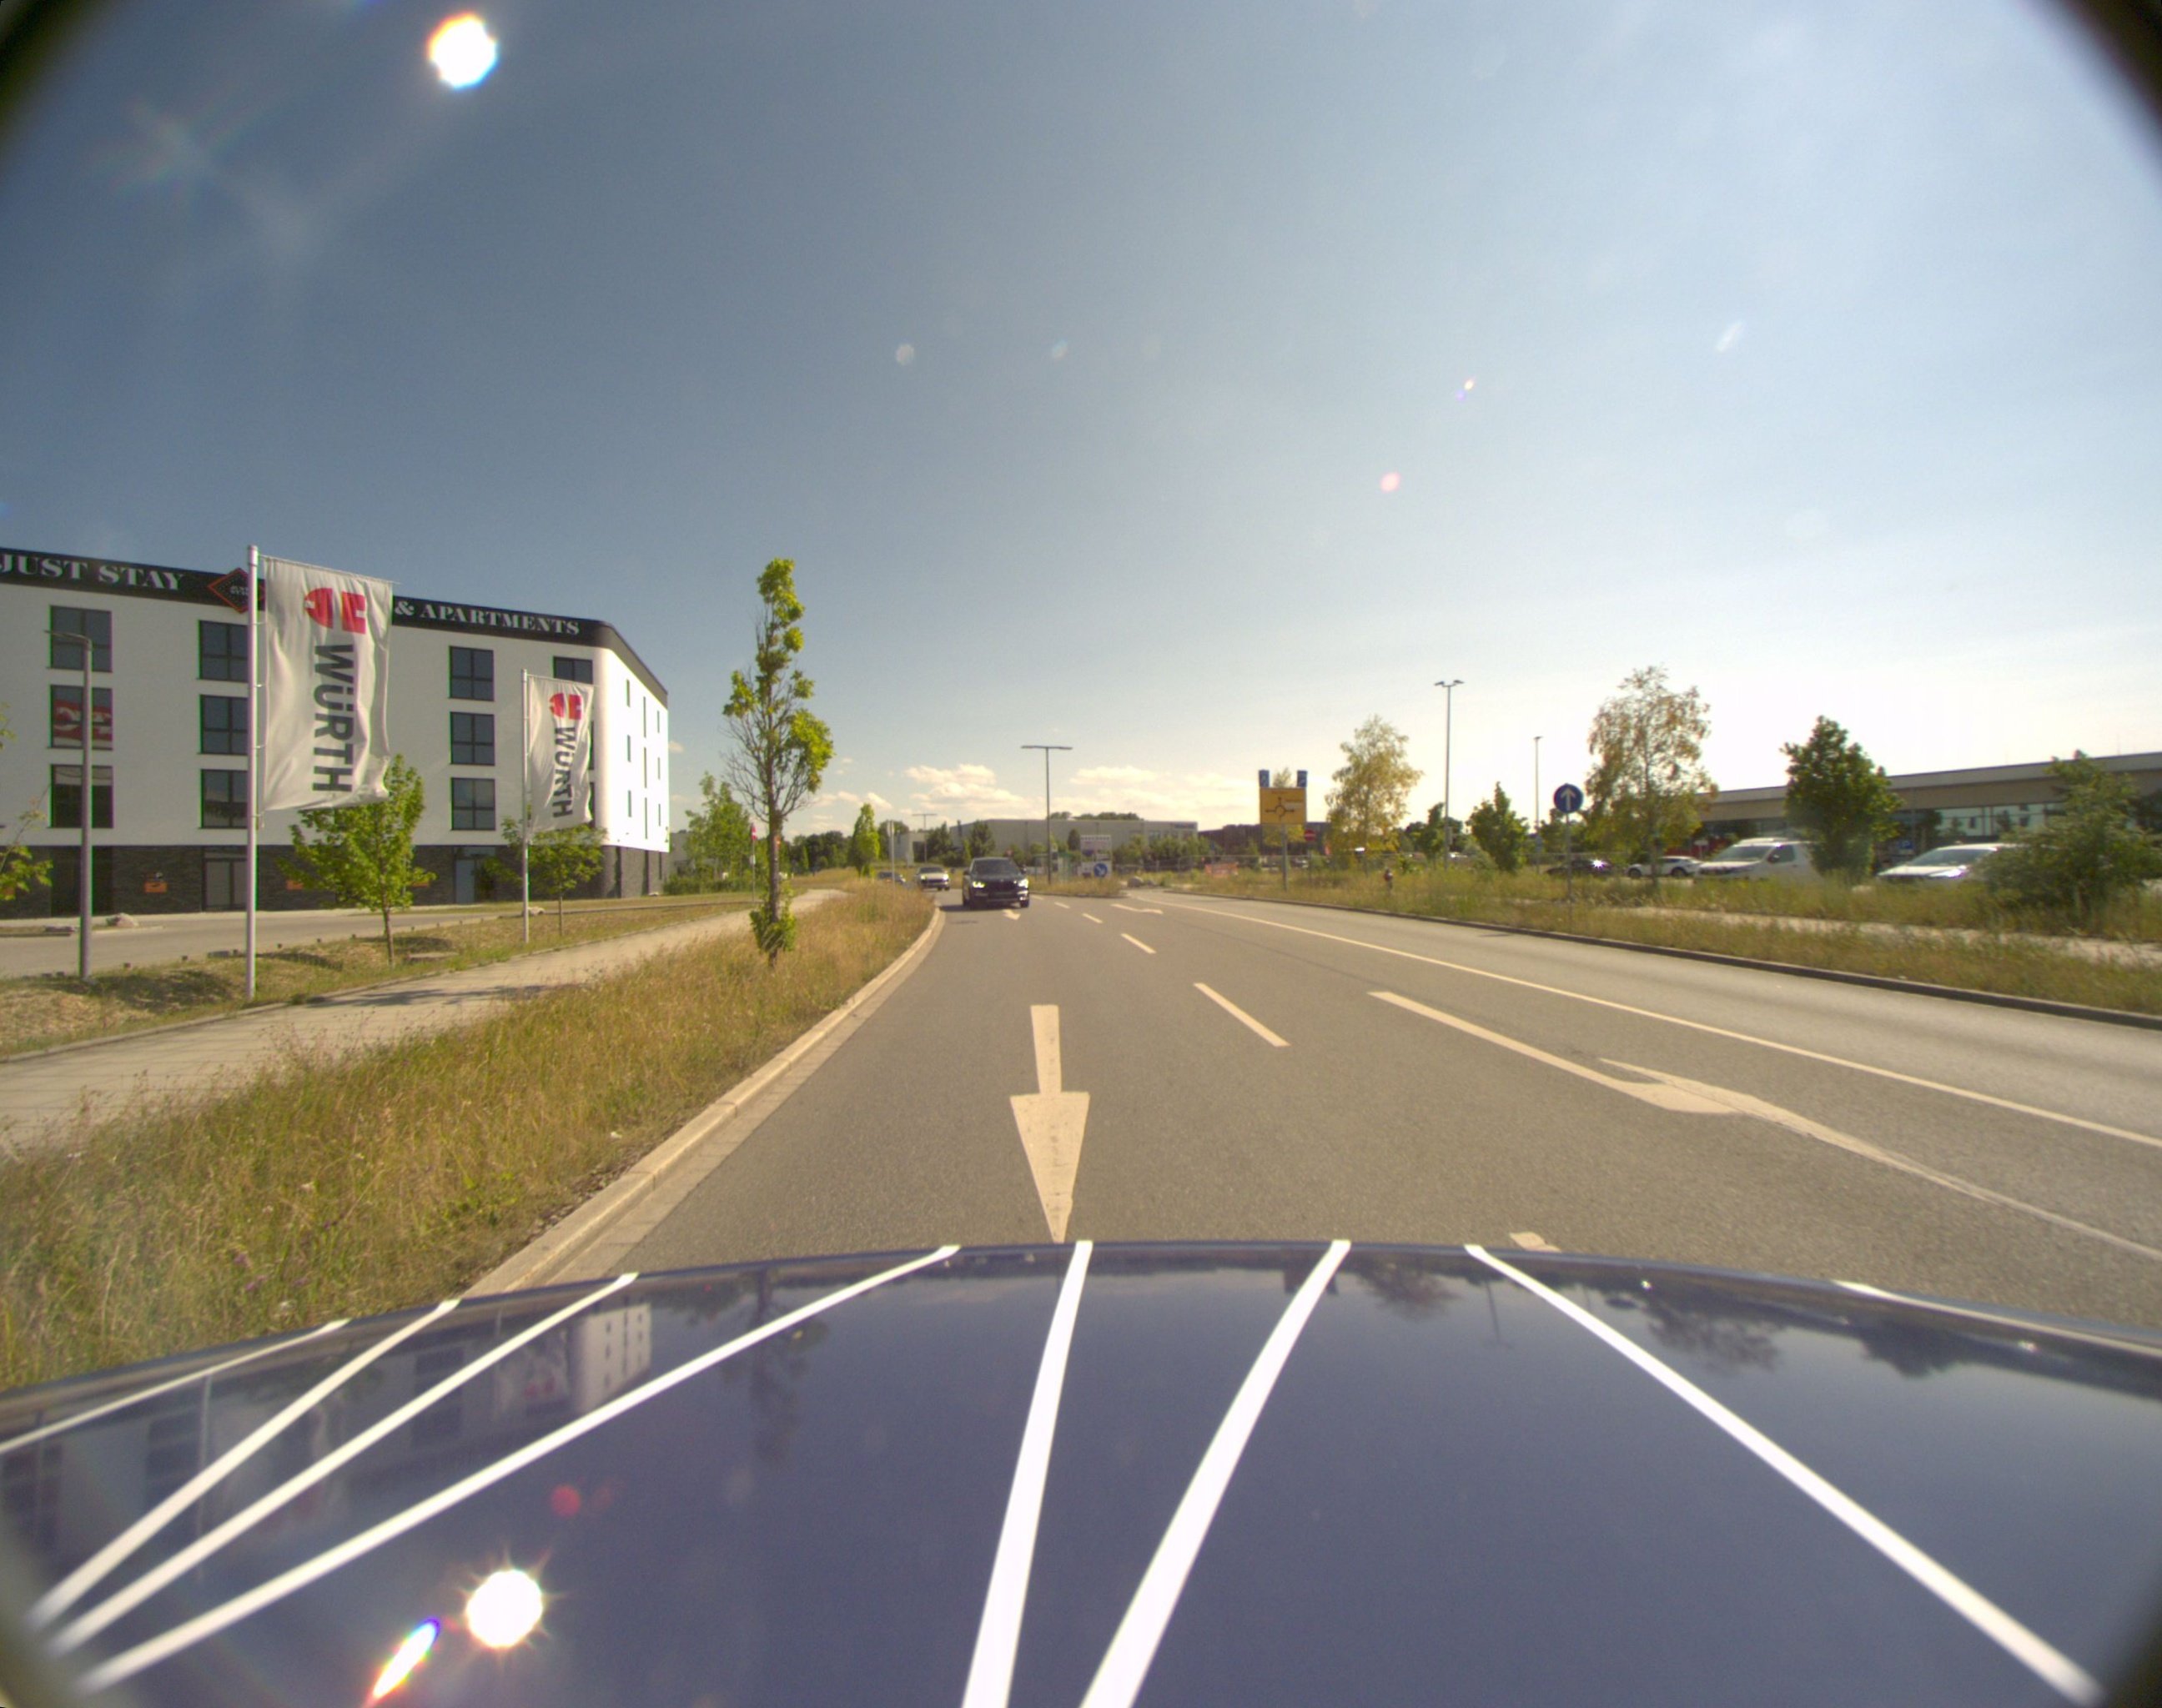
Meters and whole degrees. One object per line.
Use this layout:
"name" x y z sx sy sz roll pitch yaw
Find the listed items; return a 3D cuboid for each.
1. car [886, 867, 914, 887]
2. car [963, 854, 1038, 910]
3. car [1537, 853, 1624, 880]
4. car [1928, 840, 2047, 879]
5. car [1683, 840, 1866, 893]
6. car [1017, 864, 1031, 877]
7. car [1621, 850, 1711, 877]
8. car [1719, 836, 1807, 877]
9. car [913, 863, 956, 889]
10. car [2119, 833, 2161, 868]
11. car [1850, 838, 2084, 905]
"car" -16.636 2.064 69.577 1.760 1.677 4.373 -1 0 -23
"car" -2.799 0.939 25.560 1.903 1.669 4.463 -2 -2 -13
"car" 33.977 0.823 51.815 2.285 1.678 4.411 -1 0 -24
"car" 38.215 0.234 32.057 4.003 1.543 1.841 -1 0 -18
"car" 23.838 0.409 26.160 5.199 1.662 1.998 -1 0 -12
"car" -7.237 2.027 95.938 1.757 1.597 4.521 -1 0 -5
"car" 40.202 0.639 52.334 1.978 1.678 4.568 -1 0 -19
"car" 45.652 0.160 50.846 5.725 2.572 1.937 -1 0 -21
"car" -9.834 1.482 50.623 2.117 1.633 4.771 -2 -2 -19
"car" 50.505 -0.180 35.363 4.360 1.555 1.714 -1 0 -24
"car" 24.472 0.462 21.078 4.604 1.662 1.999 -1 0 -7
